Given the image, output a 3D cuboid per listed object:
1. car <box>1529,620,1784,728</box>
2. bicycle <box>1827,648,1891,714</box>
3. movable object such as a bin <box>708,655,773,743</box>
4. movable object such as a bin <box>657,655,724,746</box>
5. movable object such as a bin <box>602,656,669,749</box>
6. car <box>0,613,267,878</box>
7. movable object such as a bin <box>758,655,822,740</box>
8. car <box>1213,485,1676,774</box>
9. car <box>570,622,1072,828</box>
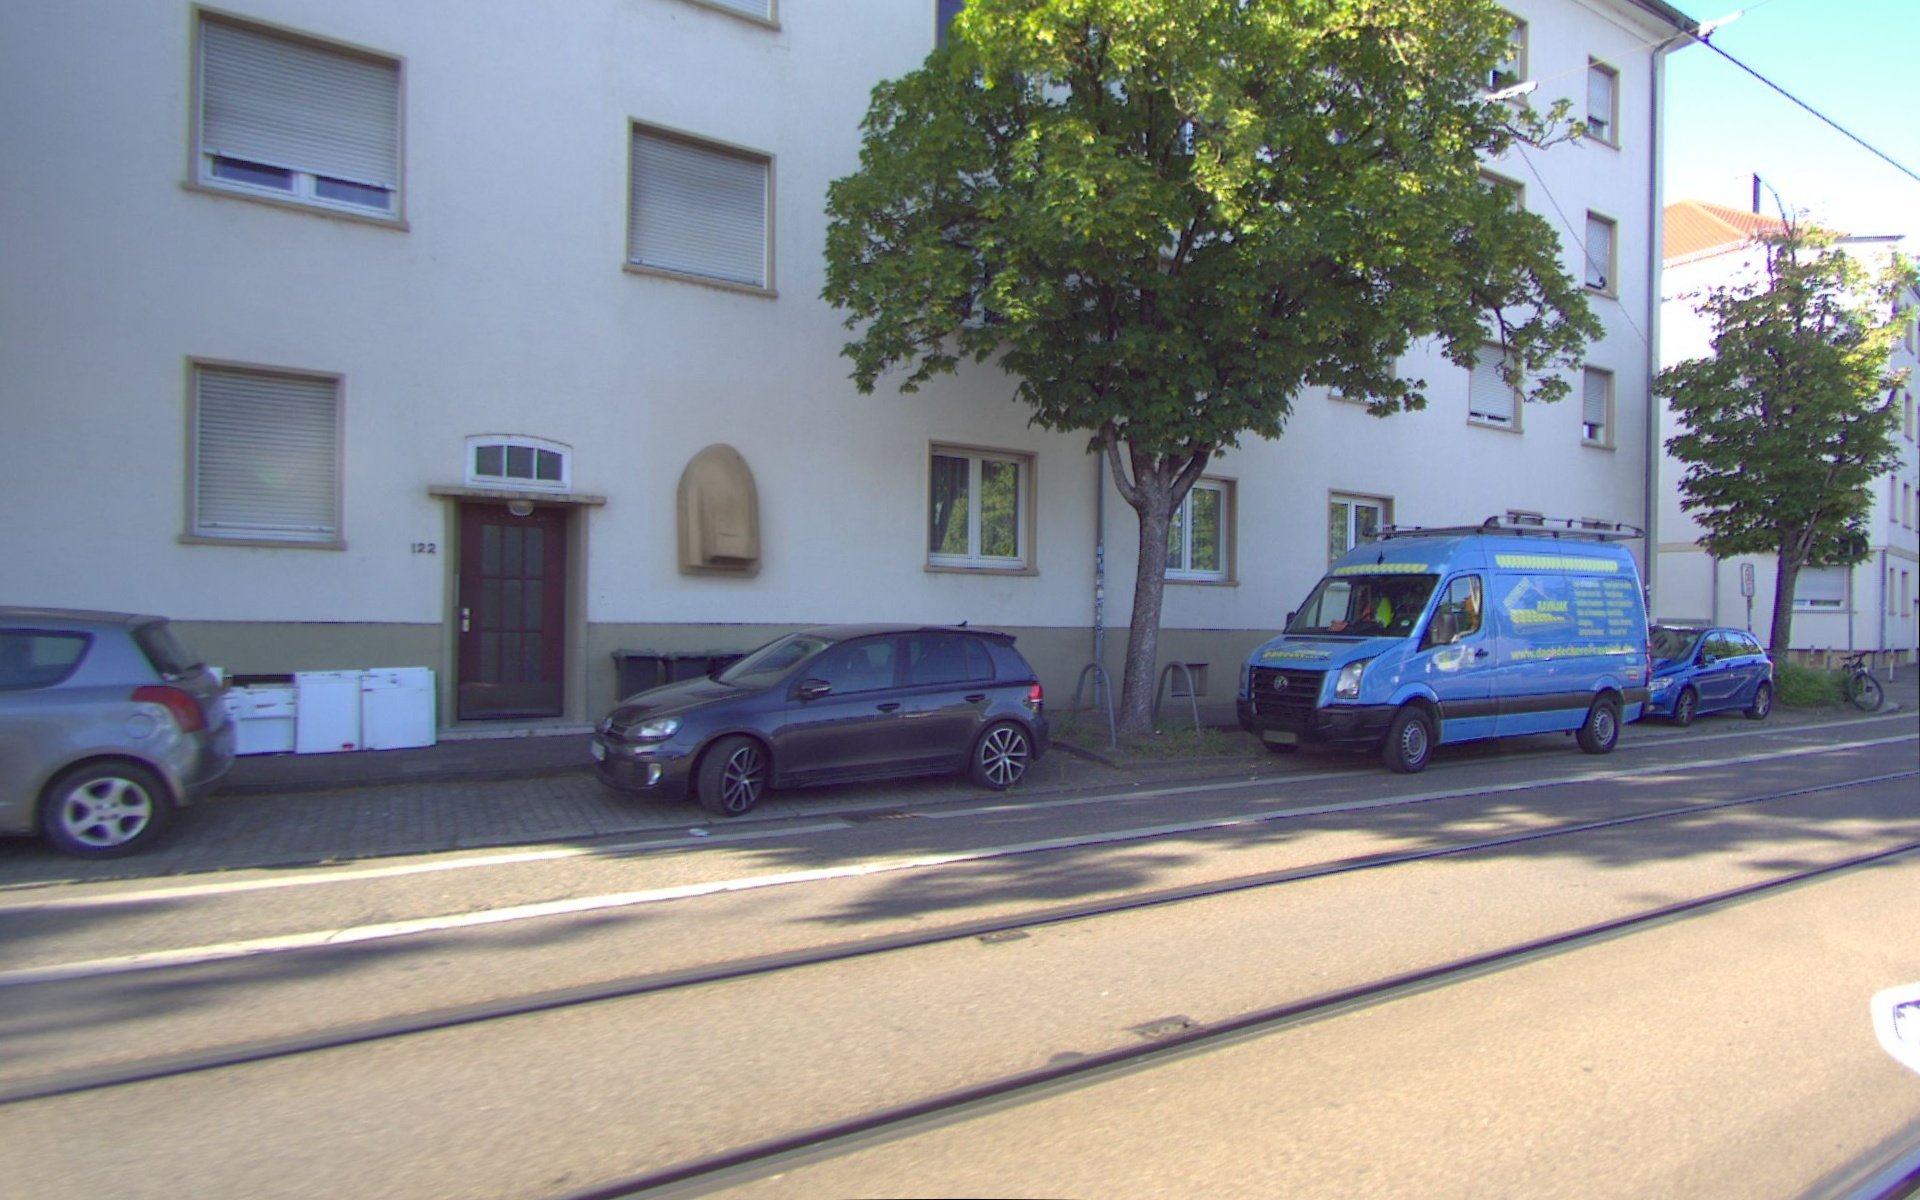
[{"bbox_3d":[11.814,1.174,16.967,4.588,1.581,1.782,1,0,-31],"label":"car"},{"bbox_3d":[16.808,1.487,18.767,2.012,1.149,0.508,1,0,-37],"label":"bicycle"},{"bbox_3d":[-2.510,1.114,11.480,0.562,0.947,0.593,1,-1,-32],"label":"movable object such as a bin"},{"bbox_3d":[-2.995,1.101,11.147,0.562,0.947,0.593,1,-1,-32],"label":"movable object such as a bin"},{"bbox_3d":[-3.525,1.088,10.891,0.562,0.947,0.593,1,-1,-32],"label":"movable object such as a bin"},{"bbox_3d":[-6.736,0.838,6.127,3.952,1.511,1.644,1,0,-30],"label":"car"},{"bbox_3d":[-2.000,1.128,11.801,0.562,0.947,0.593,1,-1,-32],"label":"movable object such as a bin"},{"bbox_3d":[6.046,0.354,12.268,5.958,2.863,2.008,1,0,-29],"label":"car"},{"bbox_3d":[-1.168,0.965,8.993,4.139,1.444,1.644,1,0,-30],"label":"car"}]
